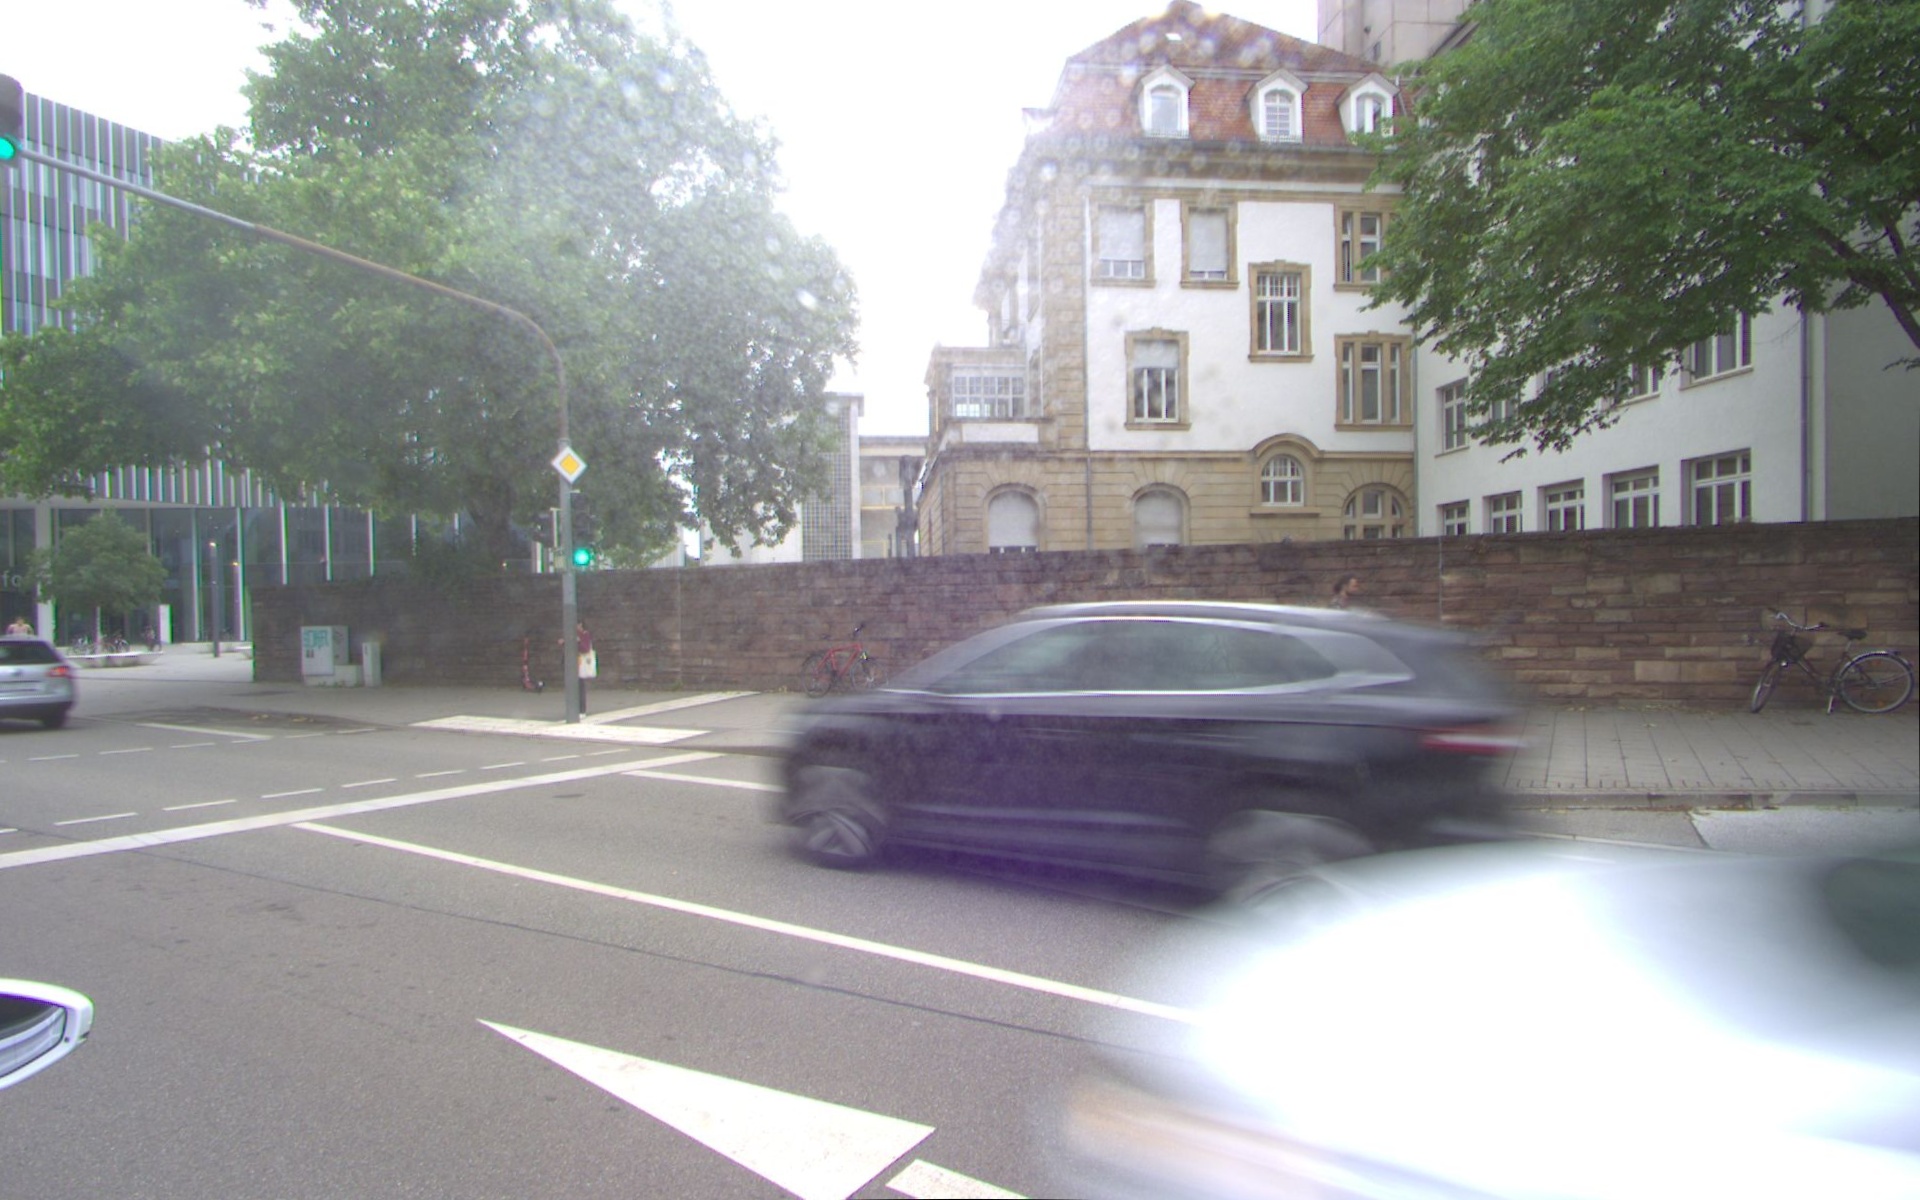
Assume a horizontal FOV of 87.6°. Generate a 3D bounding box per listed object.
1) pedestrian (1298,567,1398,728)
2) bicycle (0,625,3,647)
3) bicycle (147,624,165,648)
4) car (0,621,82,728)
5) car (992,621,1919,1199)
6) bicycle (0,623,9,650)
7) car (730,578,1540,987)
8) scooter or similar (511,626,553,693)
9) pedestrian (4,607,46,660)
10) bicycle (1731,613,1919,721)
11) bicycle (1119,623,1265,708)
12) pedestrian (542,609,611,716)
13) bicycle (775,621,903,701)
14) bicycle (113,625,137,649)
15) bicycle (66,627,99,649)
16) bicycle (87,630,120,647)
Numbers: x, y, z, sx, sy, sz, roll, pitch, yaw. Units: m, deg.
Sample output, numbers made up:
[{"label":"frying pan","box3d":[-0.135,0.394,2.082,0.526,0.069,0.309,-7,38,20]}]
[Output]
[{"label":"pedestrian","box3d":[4.656,0.546,12.017,1.018,1.846,0.629,0,2,32]},{"label":"bicycle","box3d":[-48.432,1.822,49.938,0.613,1.060,1.696,-2,2,-31]},{"label":"bicycle","box3d":[-39.222,1.746,48.840,0.616,1.070,1.933,-2,2,-38]},{"label":"car","box3d":[-15.920,1.180,16.006,4.467,1.570,1.820,-3,-3,35]},{"label":"car","box3d":[2.127,0.765,1.224,3.814,1.482,1.779,-1,-1,31]},{"label":"bicycle","box3d":[-46.269,1.744,48.205,0.522,1.270,1.651,-3,2,-39]},{"label":"car","box3d":[0.917,0.796,6.012,4.425,1.645,1.904,-1,-2,31]},{"label":"scooter or similar","box3d":[-8.359,1.137,19.544,0.427,1.195,1.693,-3,2,-33]},{"label":"pedestrian","box3d":[-32.721,1.169,35.040,0.756,1.789,0.845,0,2,32]},{"label":"bicycle","box3d":[10.181,0.754,11.511,1.889,1.143,0.849,-1,2,17]},{"label":"bicycle","box3d":[3.289,0.908,14.156,1.934,1.088,0.941,-1,2,17]},{"label":"pedestrian","box3d":[-5.982,0.955,15.631,0.627,1.584,0.658,0,5,32]},{"label":"bicycle","box3d":[-1.970,0.961,16.296,1.923,1.190,0.802,0,3,27]},{"label":"bicycle","box3d":[-40.474,1.785,48.560,0.802,1.070,1.933,-2,2,-38]},{"label":"bicycle","box3d":[-42.495,1.834,48.514,0.686,0.959,1.975,-2,1,-27]},{"label":"bicycle","box3d":[-41.611,1.881,48.679,0.510,0.726,1.525,-1,1,-11]}]
